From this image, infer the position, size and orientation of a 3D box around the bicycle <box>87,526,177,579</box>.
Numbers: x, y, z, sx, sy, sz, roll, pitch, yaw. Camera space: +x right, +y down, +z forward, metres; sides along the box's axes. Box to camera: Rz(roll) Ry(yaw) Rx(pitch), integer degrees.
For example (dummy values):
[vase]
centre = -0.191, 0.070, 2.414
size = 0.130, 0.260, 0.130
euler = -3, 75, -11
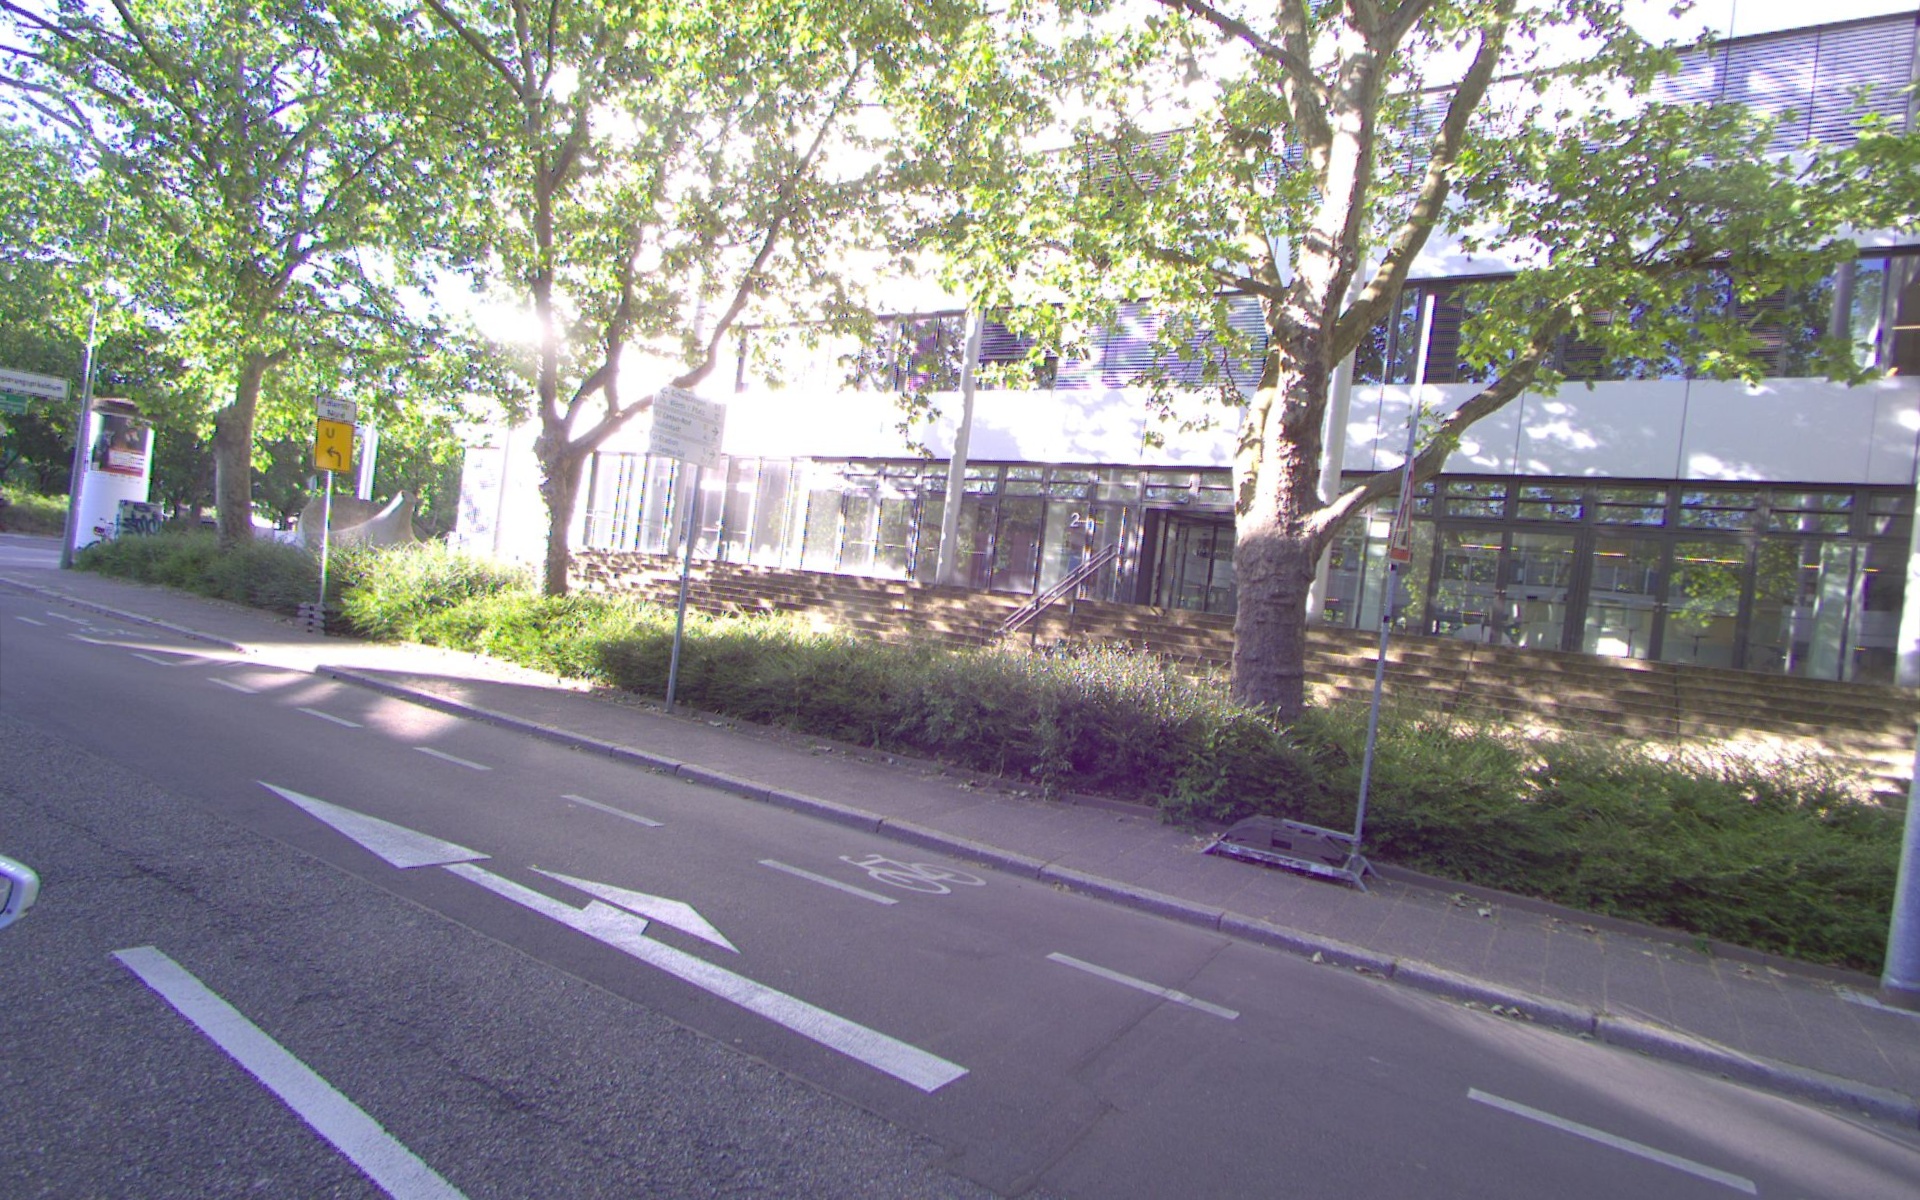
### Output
[bicycle]
centre = -19.043, -1.072, 23.174
size = 0.295, 0.991, 1.484
euler = 6, -2, 37

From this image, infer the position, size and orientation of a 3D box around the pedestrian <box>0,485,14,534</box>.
[pedestrian]
centre = -36.624, -3.465, 38.219
size = 0.672, 1.793, 0.613
euler = 8, -1, -29

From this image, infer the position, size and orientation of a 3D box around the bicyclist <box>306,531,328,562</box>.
[bicyclist]
centre = -29.427, -2.446, 46.048
size = 0.534, 1.363, 0.523
euler = 6, -1, 35
